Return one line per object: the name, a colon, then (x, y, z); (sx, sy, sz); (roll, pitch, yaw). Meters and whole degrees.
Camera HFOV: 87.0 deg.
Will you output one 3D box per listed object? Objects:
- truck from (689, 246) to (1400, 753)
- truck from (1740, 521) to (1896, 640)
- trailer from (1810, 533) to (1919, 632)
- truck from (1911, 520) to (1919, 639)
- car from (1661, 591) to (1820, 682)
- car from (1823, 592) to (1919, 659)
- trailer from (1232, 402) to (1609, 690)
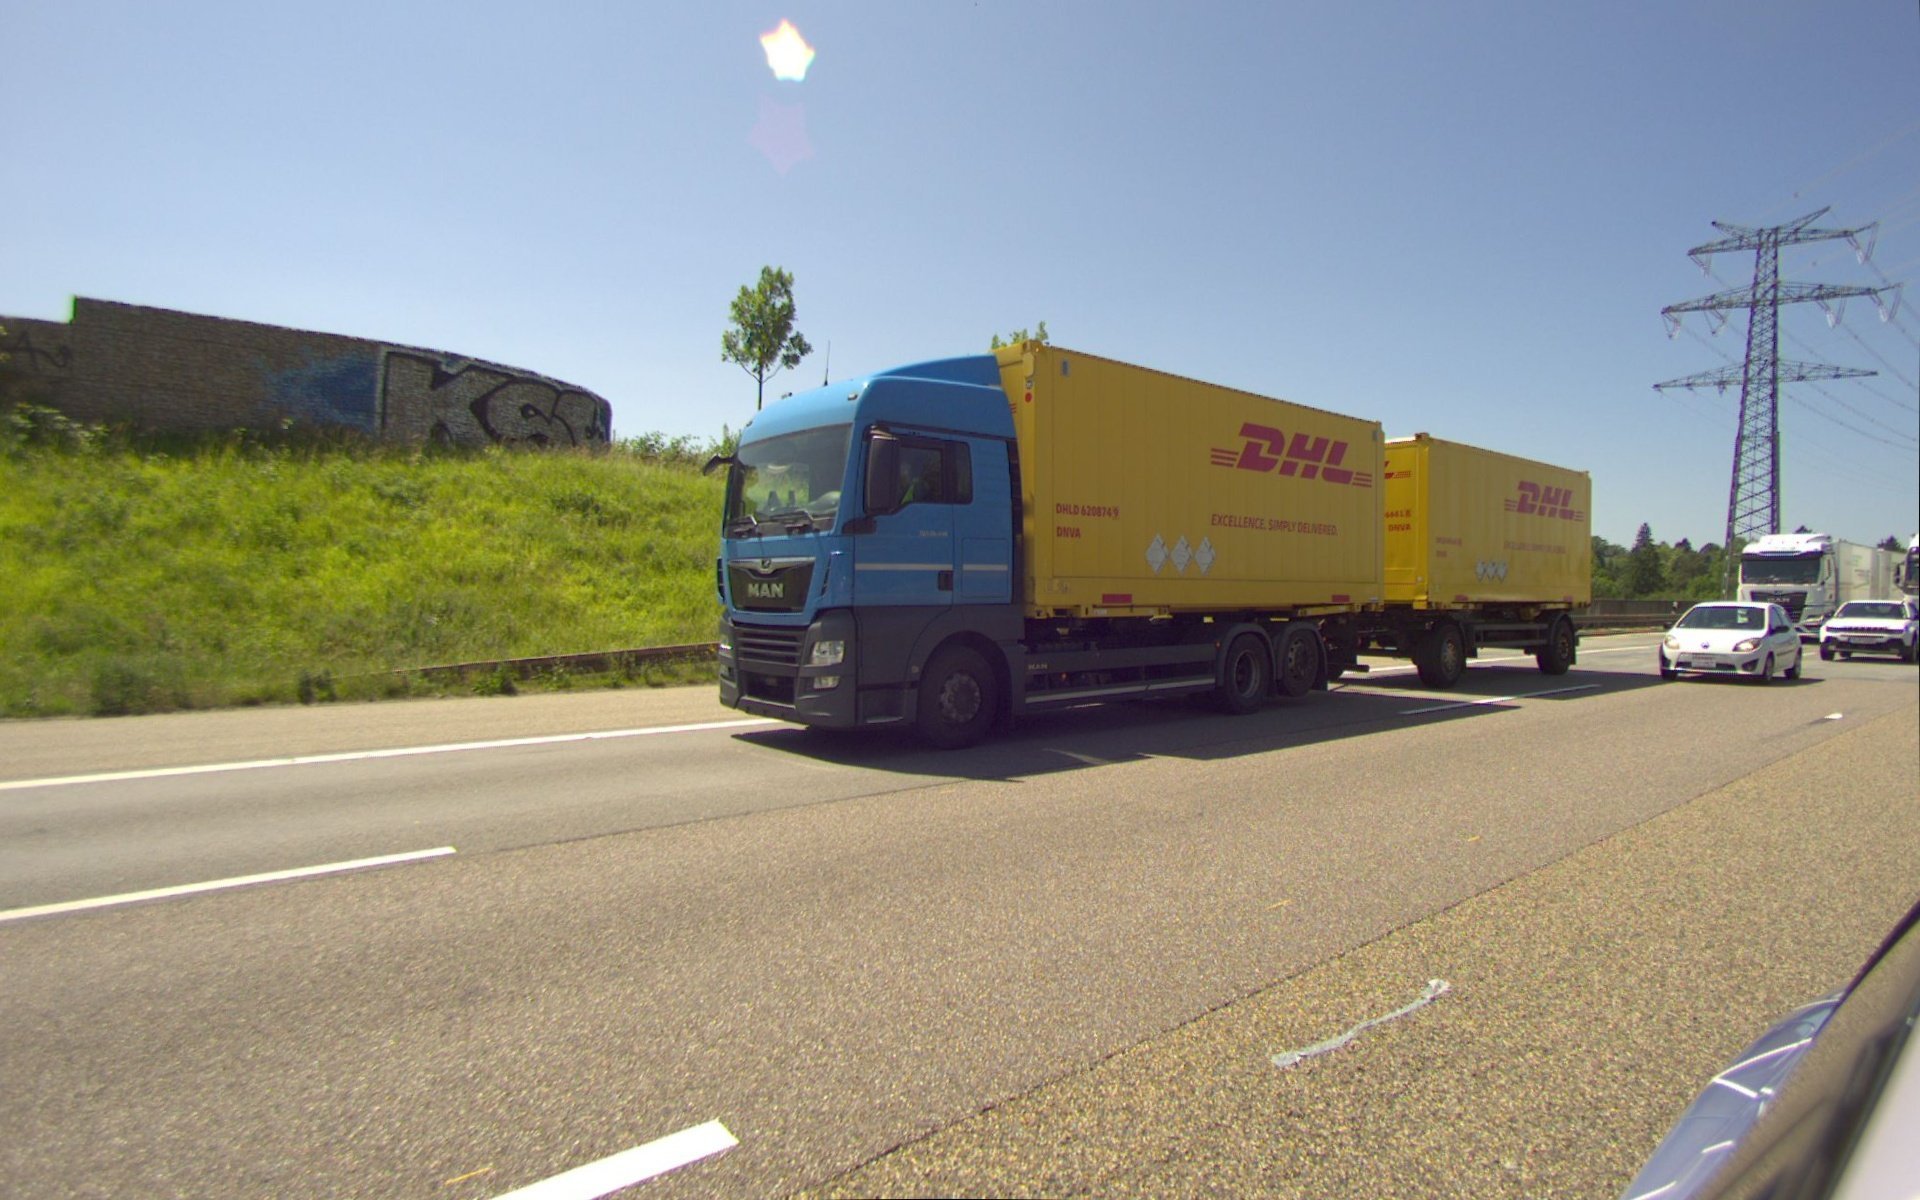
truck: (1.813, -0.793, 12.568); (9.778, 4.162, 2.770); (1, -1, -41)
truck: (32.694, -0.670, 38.321); (11.096, 3.980, 2.694); (0, 0, -40)
trailer: (39.893, -0.706, 44.358); (7.635, 3.991, 2.751); (0, 0, -40)
truck: (39.328, -0.693, 38.527); (13.998, 4.090, 2.717); (0, 0, -39)
car: (14.744, 0.623, 19.065); (3.759, 1.529, 1.658); (-1, 0, -41)
car: (23.241, 0.574, 25.372); (3.782, 1.549, 1.775); (-1, 1, -39)
trailer: (8.879, -0.754, 18.702); (9.211, 4.170, 2.770); (1, -1, -41)
